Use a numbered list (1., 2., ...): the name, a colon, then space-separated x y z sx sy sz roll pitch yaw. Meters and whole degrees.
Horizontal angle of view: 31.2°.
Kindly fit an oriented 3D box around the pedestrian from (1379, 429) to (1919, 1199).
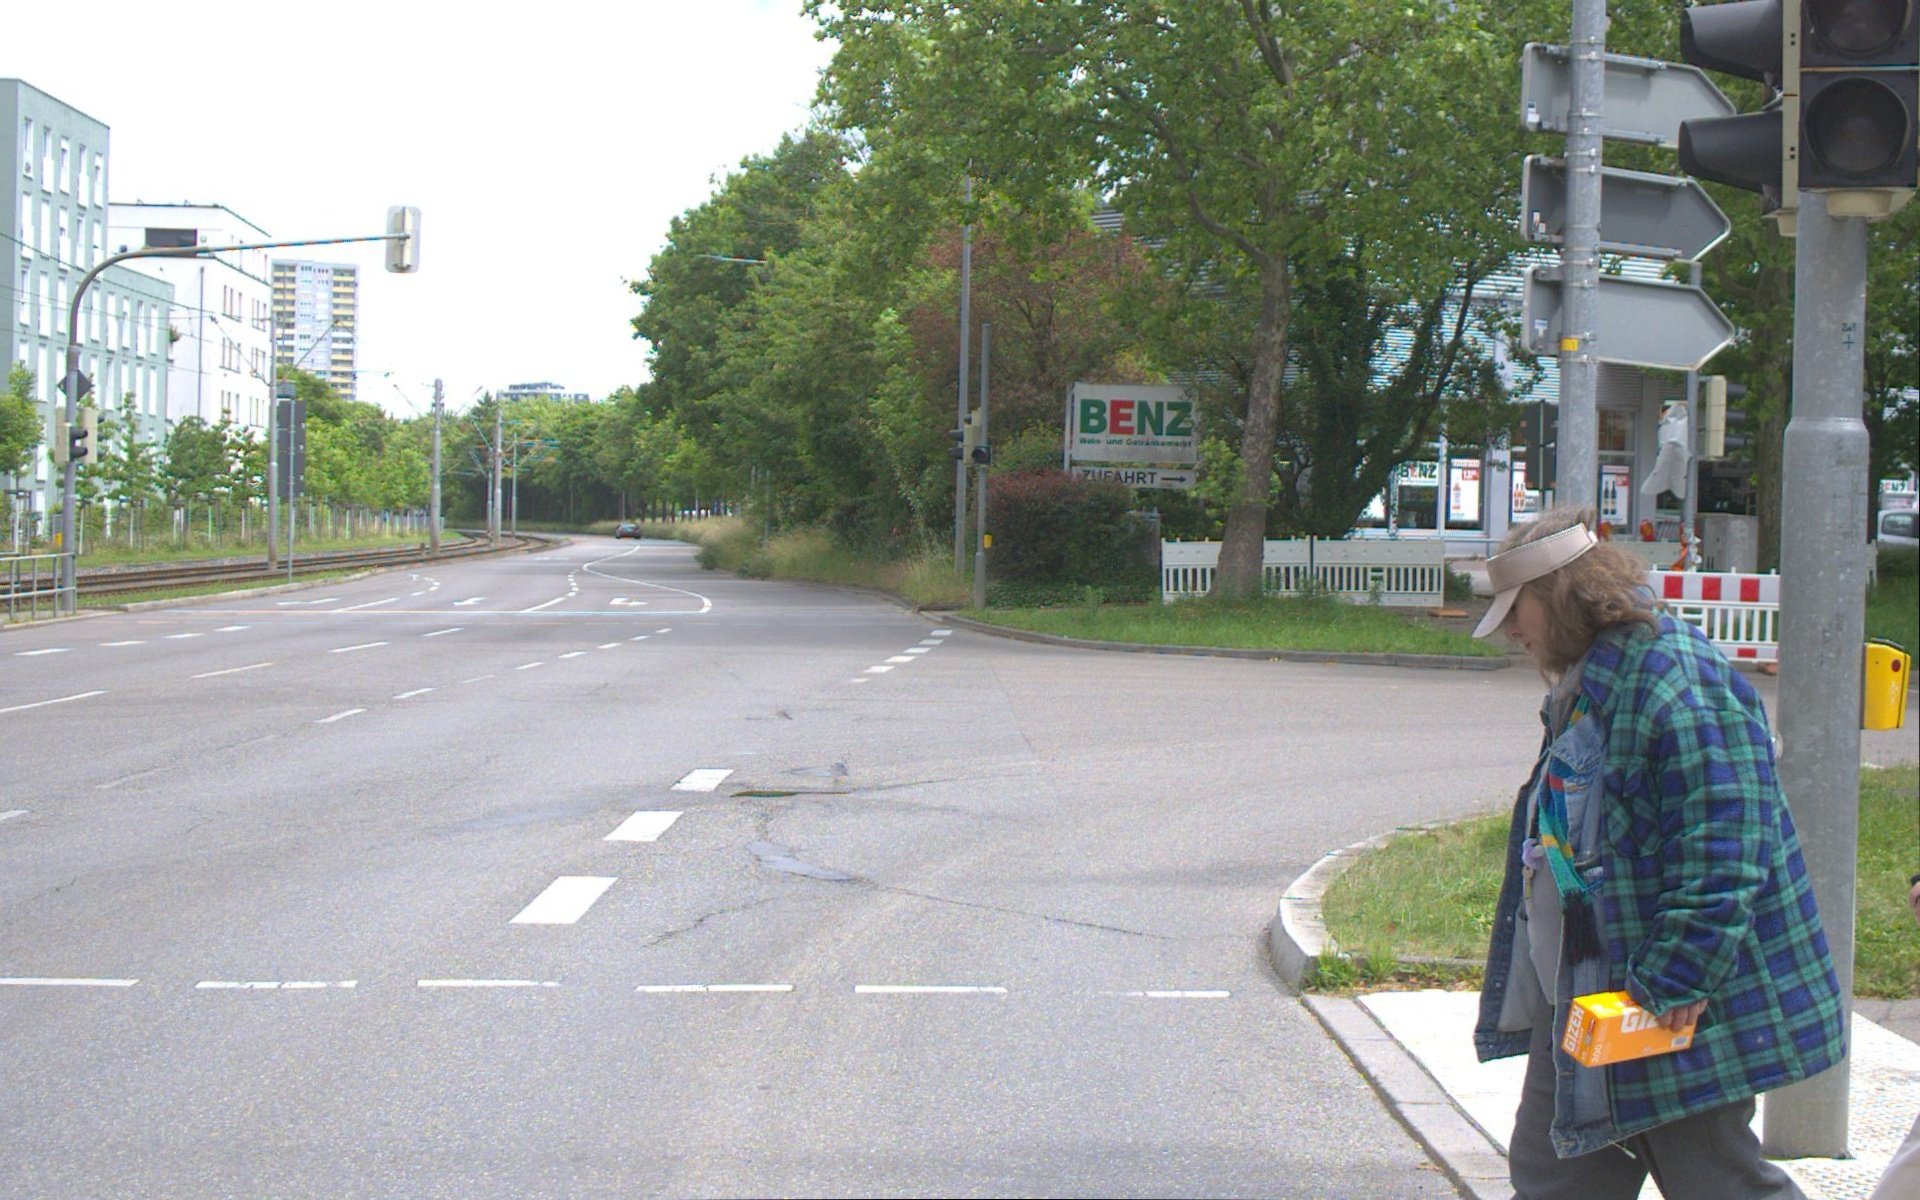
1. pedestrian: 1.113 0.565 5.650 0.822 1.665 0.733 1 1 7

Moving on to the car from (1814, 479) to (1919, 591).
1. car: 17.740 -1.179 62.571 1.993 2.007 4.000 0 2 -32

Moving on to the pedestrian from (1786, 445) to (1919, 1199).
1. pedestrian: 1.976 0.541 6.340 0.823 1.634 0.733 1 1 17
